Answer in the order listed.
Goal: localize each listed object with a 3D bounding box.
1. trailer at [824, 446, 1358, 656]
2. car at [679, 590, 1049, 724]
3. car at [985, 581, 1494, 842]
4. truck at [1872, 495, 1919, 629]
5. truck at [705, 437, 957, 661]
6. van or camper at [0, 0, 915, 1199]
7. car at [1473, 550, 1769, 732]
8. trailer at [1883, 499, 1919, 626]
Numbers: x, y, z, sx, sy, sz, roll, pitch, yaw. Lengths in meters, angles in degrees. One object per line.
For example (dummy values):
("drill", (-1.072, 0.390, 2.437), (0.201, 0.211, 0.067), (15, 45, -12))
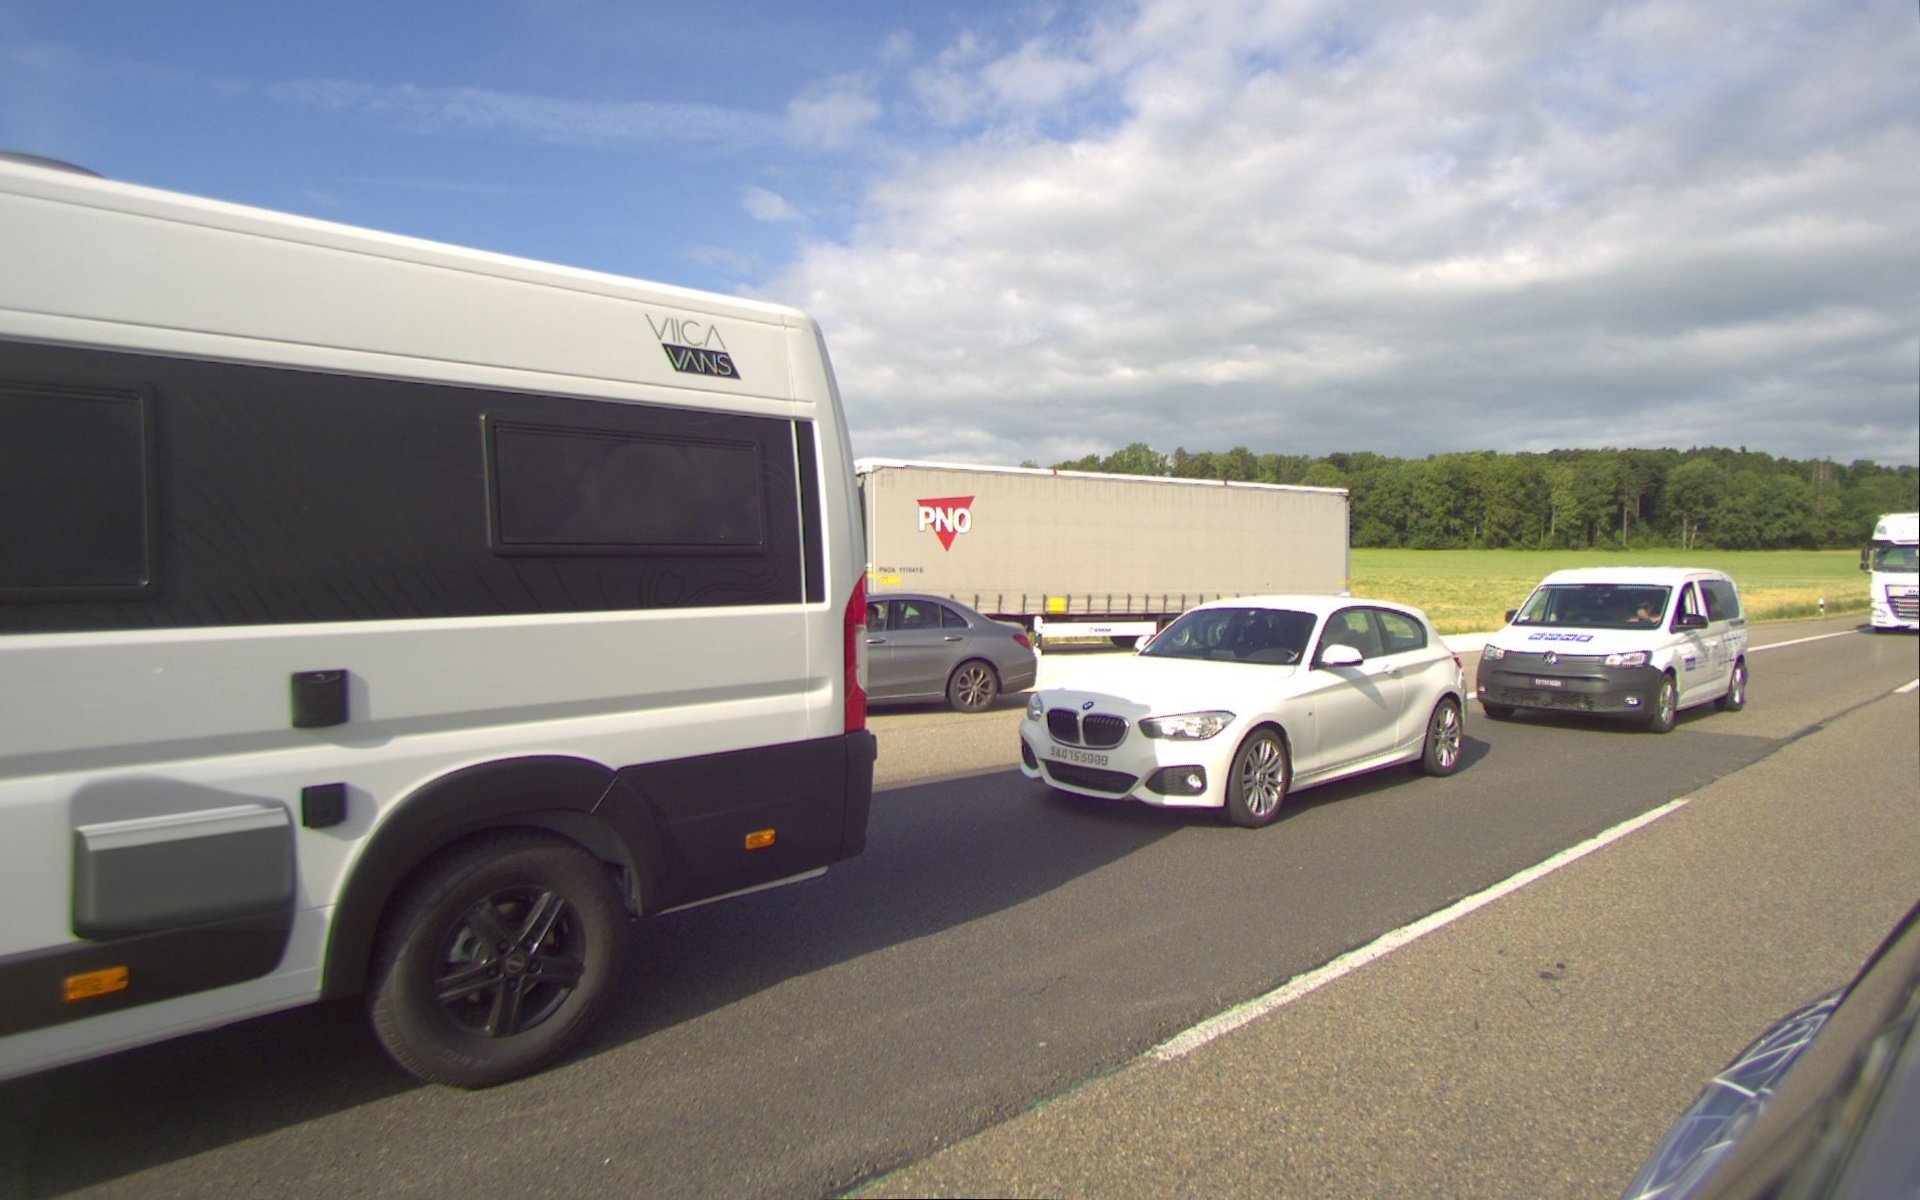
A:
("trailer", (3.626, -1.011, 24.486), (13.543, 4.213, 2.748), (0, 0, -26))
("car", (-1.147, 0.583, 12.148), (4.096, 1.370, 1.712), (-1, 0, -24))
("car", (2.291, 0.594, 7.640), (4.158, 1.450, 1.706), (-1, 1, -41))
("truck", (32.446, -1.252, 33.465), (5.667, 4.226, 2.733), (-1, 1, -41))
("truck", (-2.749, -0.985, 21.376), (4.662, 4.226, 2.727), (0, 0, -26))
("van or camper", (-3.227, 0.009, 2.564), (6.223, 2.714, 2.219), (-1, 1, -41))
("car", (7.976, 0.378, 12.023), (4.620, 1.779, 1.727), (-1, 0, -41))
("trailer", (37.262, -1.386, 37.718), (13.777, 4.212, 2.740), (-2, 1, -41))
